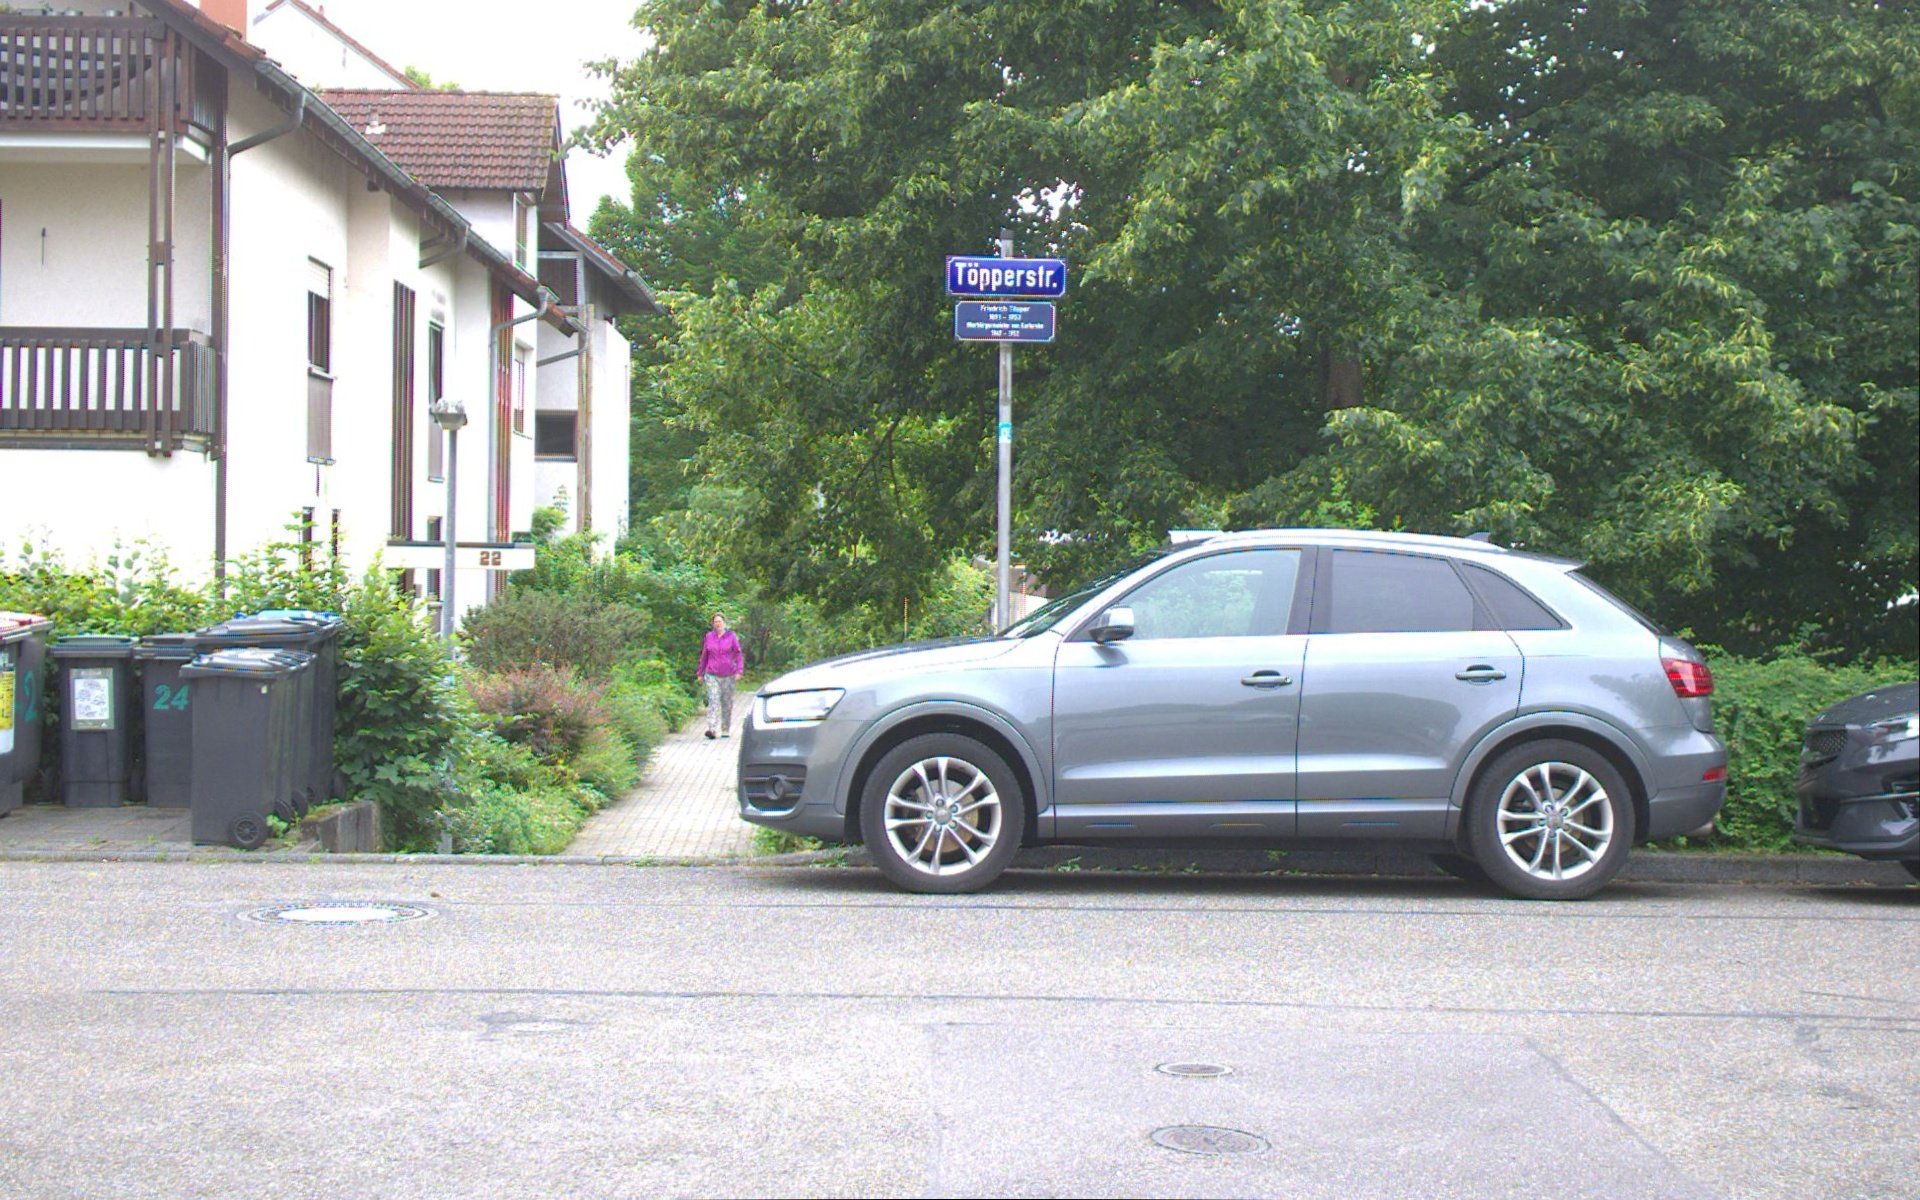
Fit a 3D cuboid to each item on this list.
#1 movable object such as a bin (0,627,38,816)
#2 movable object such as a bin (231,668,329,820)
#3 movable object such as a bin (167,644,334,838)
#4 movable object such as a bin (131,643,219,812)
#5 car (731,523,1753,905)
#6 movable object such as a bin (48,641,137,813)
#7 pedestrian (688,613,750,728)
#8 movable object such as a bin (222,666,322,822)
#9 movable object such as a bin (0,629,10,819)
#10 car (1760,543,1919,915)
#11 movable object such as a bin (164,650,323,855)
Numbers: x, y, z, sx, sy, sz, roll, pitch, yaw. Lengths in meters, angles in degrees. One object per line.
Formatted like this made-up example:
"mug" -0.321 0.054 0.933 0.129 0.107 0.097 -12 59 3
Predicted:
"movable object such as a bin" -5.264 0.643 18.451 0.537 0.990 0.337 2 1 -4
"movable object such as a bin" -3.711 0.782 18.773 0.459 0.795 0.379 2 1 -4
"movable object such as a bin" -3.665 0.723 17.795 0.733 0.950 0.584 2 1 -2
"movable object such as a bin" -4.245 0.685 18.599 0.386 0.886 0.379 2 1 -4
"car" 1.152 0.489 15.137 4.236 1.526 1.747 1 -1 -2
"movable object such as a bin" -4.686 0.680 18.575 0.386 0.898 0.379 2 1 -4
"pedestrian" -3.219 0.939 45.988 0.815 1.512 0.438 0 0 -4
"movable object such as a bin" -3.671 0.765 18.358 0.459 0.795 0.379 2 1 -4
"movable object such as a bin" -5.275 0.644 17.938 0.537 0.990 0.337 2 1 -4
"car" 5.750 0.570 14.911 4.182 1.526 1.747 1 -1 3
"movable object such as a bin" -3.530 0.743 16.977 0.638 0.950 0.723 2 1 -3
